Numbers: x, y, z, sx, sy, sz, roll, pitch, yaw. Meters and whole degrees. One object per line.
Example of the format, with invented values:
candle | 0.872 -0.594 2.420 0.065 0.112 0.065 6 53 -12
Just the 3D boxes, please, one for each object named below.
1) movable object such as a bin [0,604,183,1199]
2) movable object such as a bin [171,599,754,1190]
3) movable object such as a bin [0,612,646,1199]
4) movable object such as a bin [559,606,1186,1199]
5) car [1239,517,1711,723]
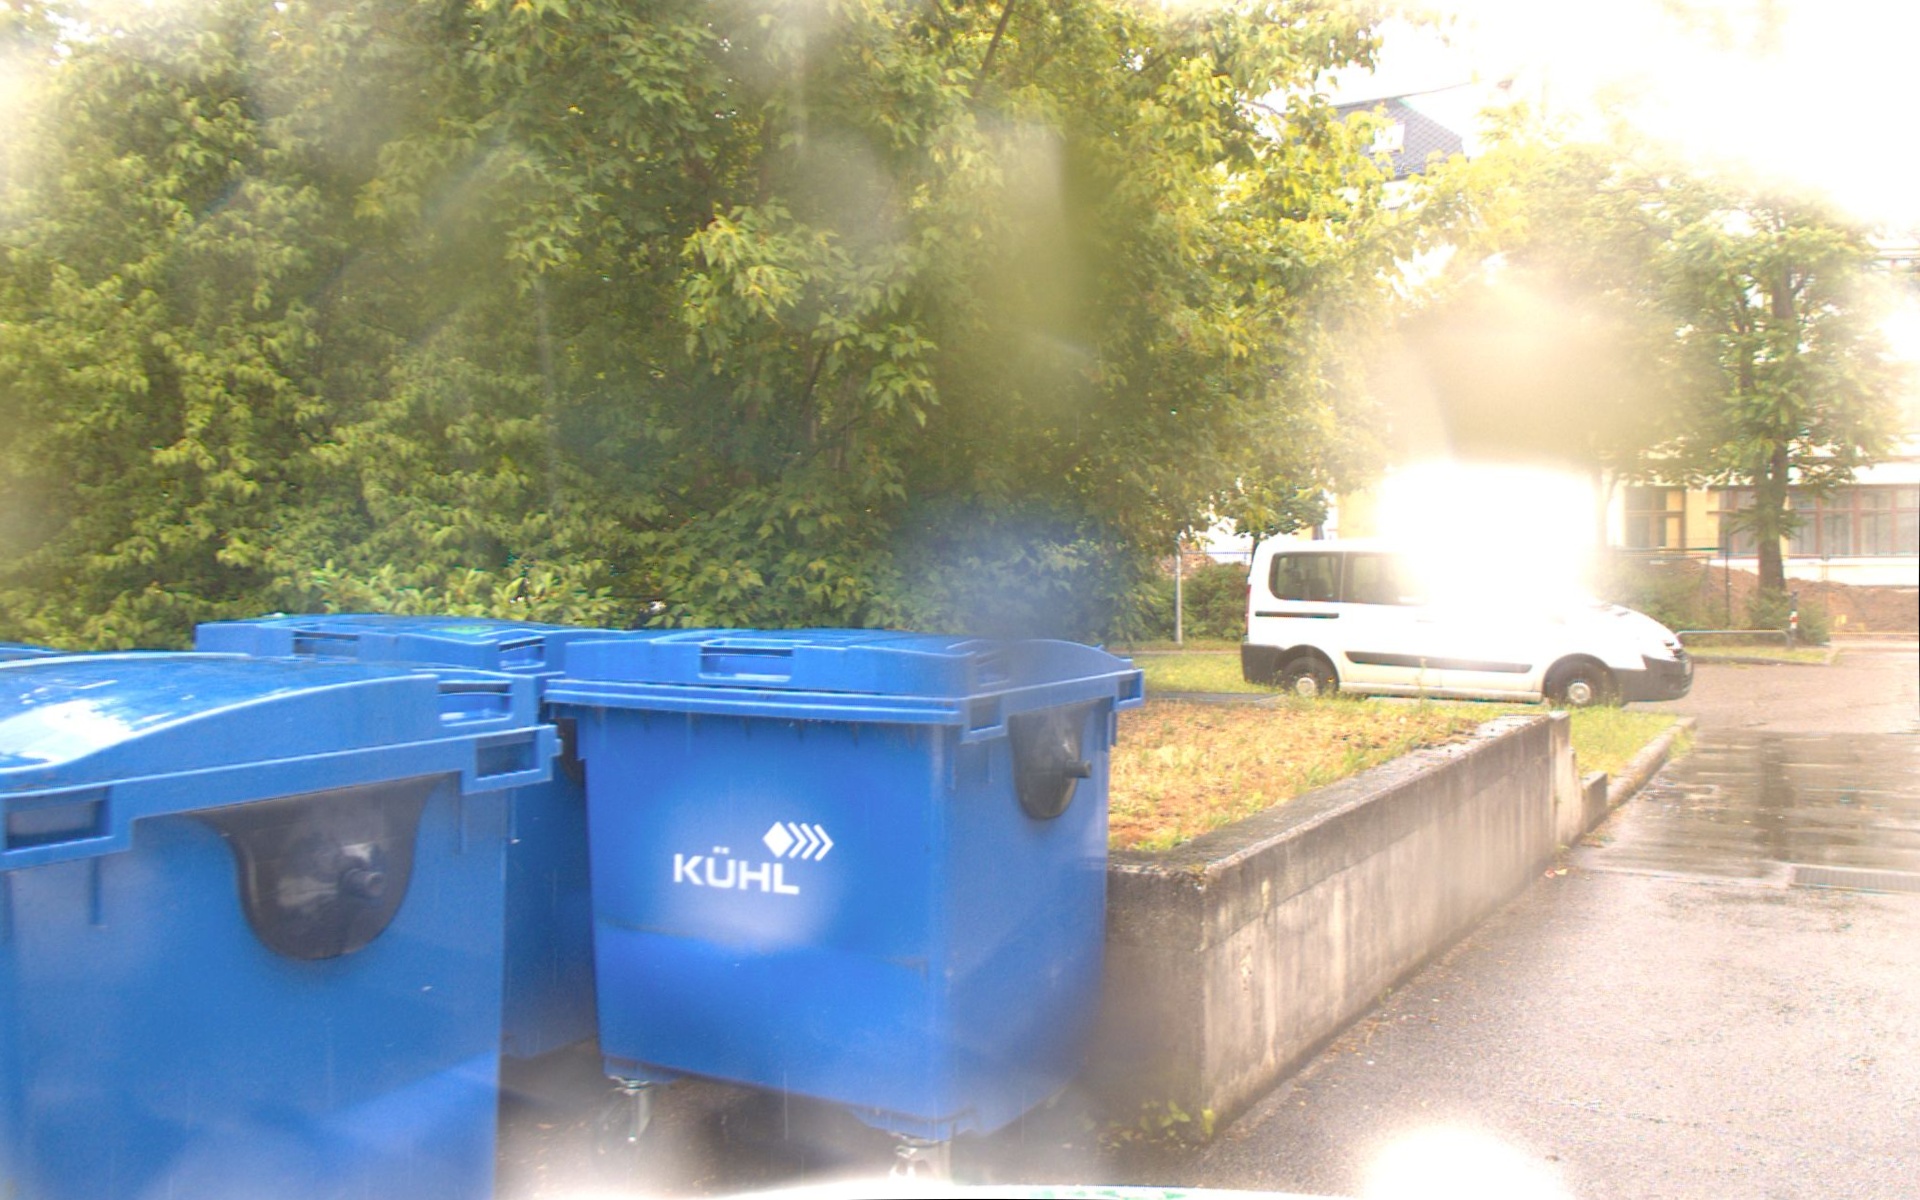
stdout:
movable object such as a bin | -2.479 0.719 3.398 1.180 1.360 1.115 2 4 30
movable object such as a bin | -1.373 0.699 4.650 1.199 1.360 1.005 0 2 30
movable object such as a bin | -1.345 0.716 2.765 1.182 1.360 1.113 0 1 34
movable object such as a bin | -0.190 0.712 4.100 1.199 1.360 1.005 0 1 30
car | 5.702 0.196 18.475 4.692 2.048 1.996 -1 1 31
